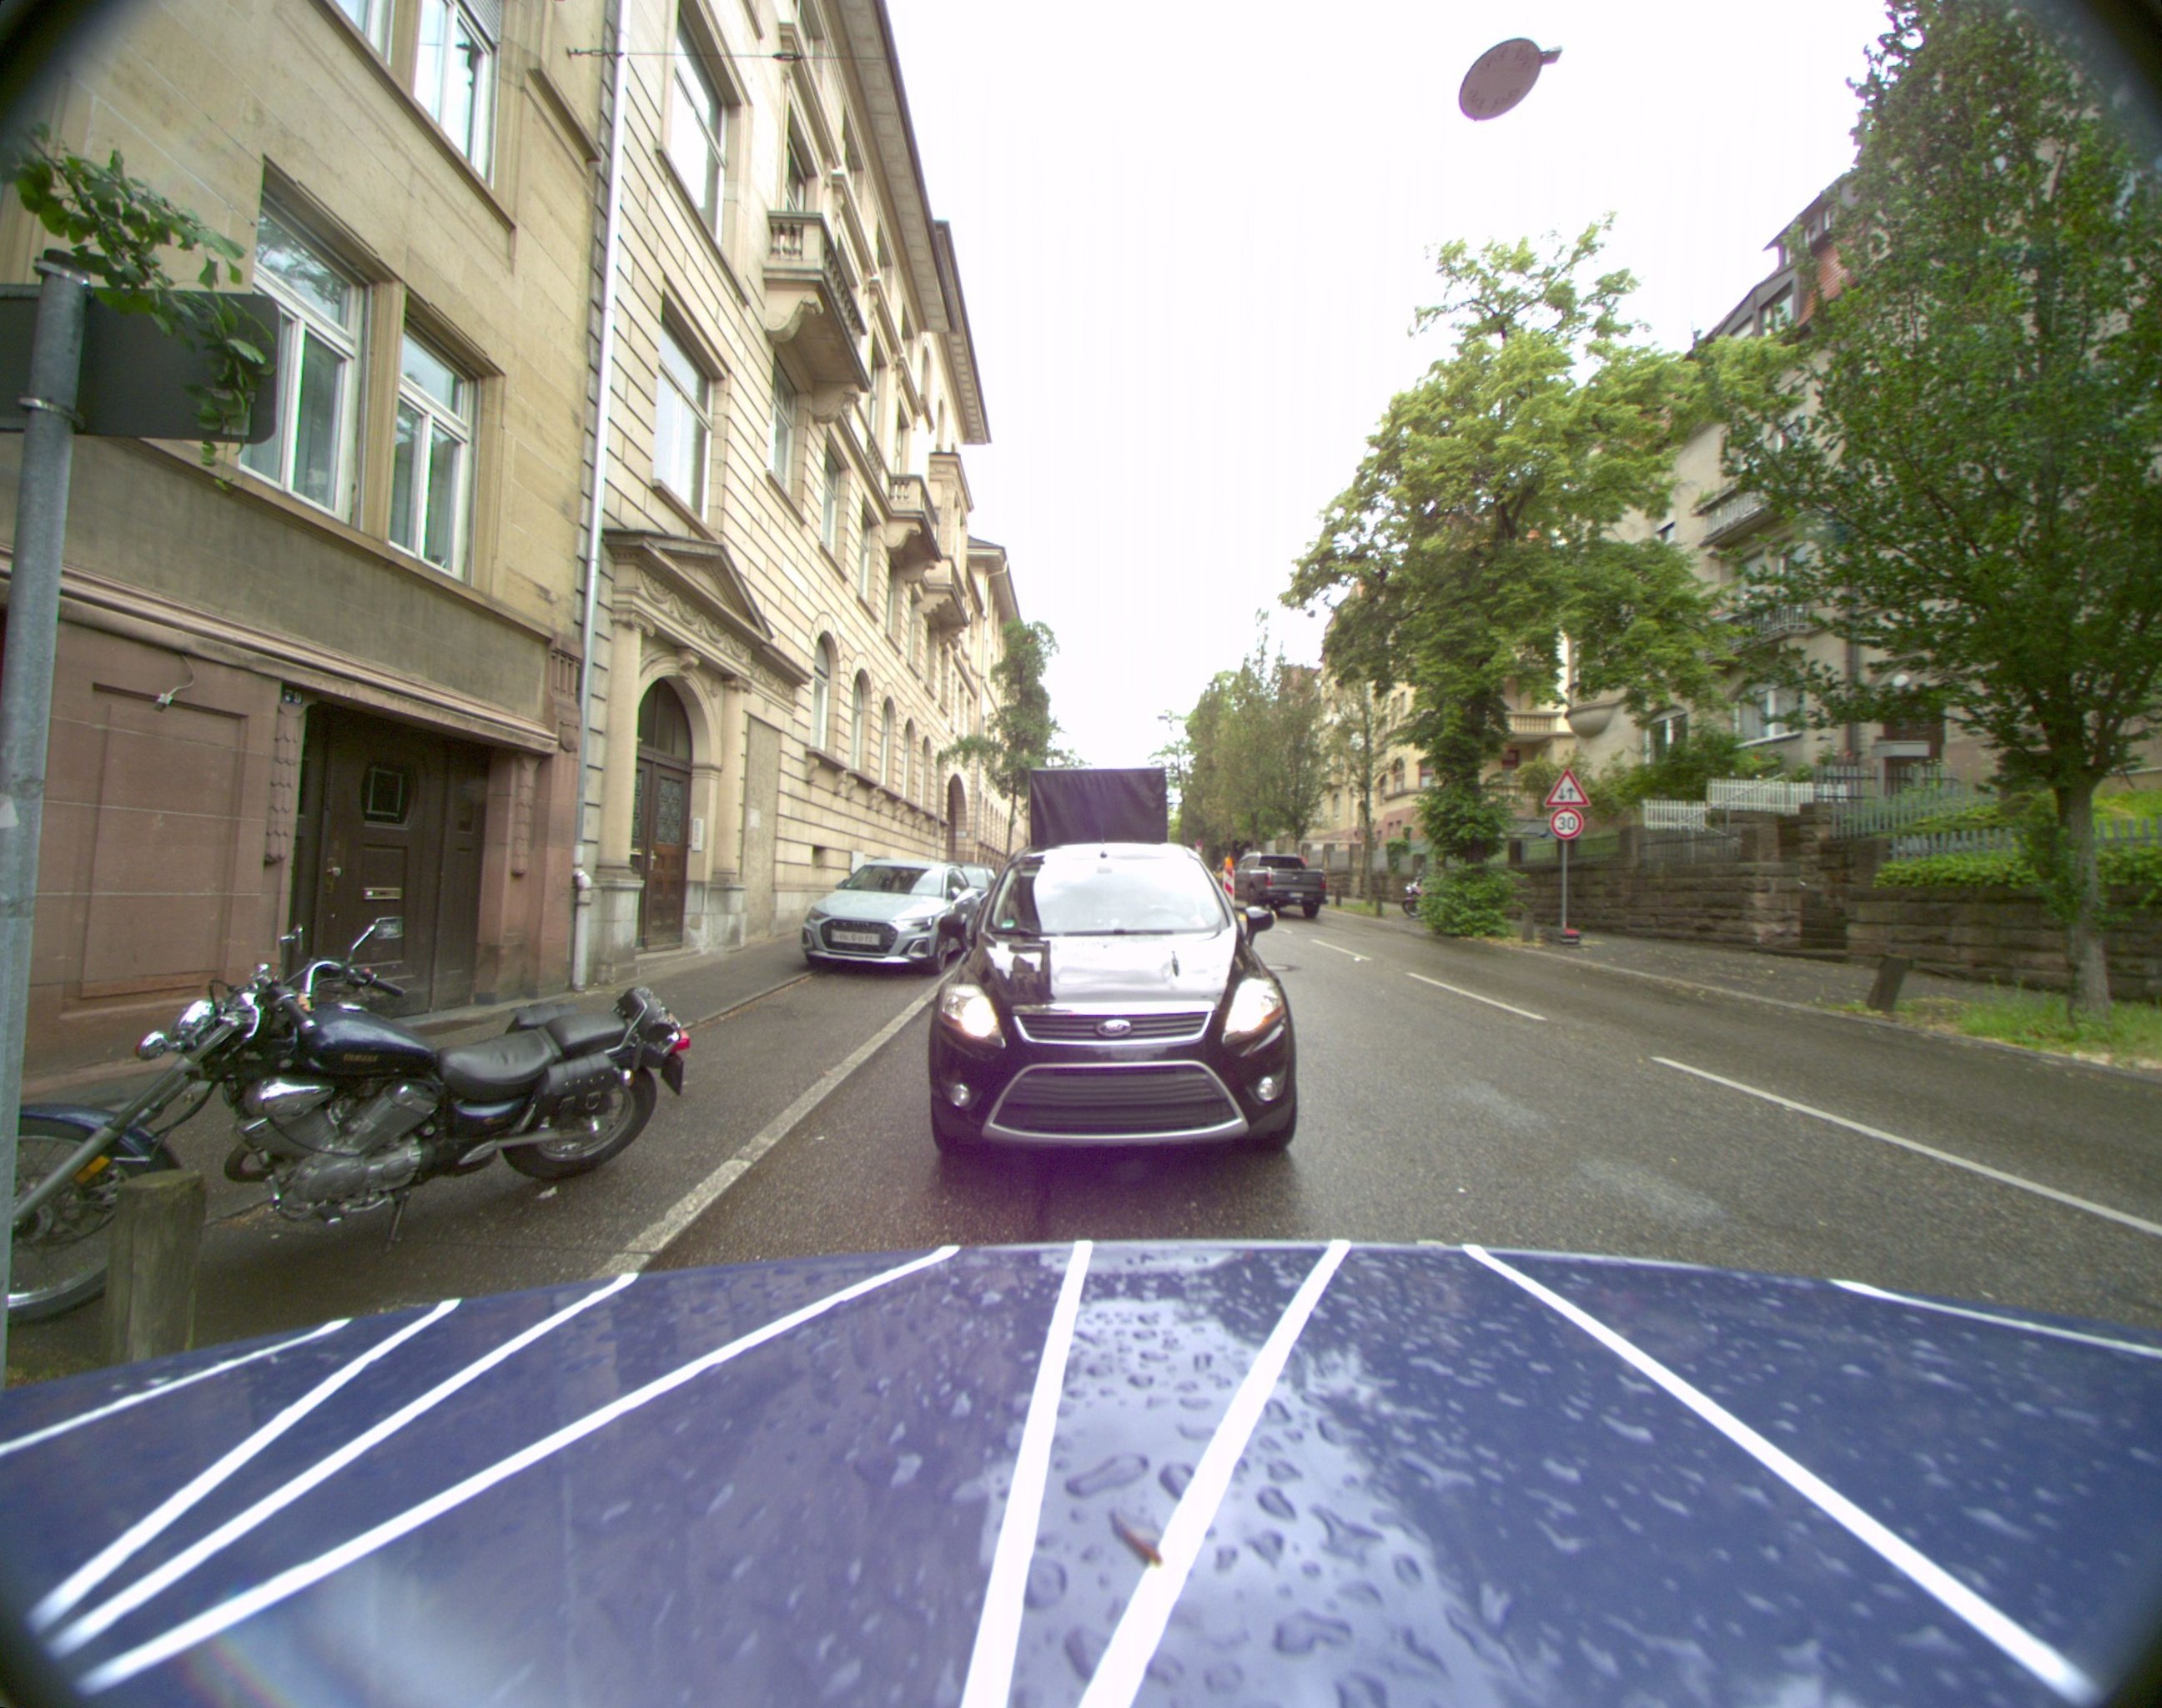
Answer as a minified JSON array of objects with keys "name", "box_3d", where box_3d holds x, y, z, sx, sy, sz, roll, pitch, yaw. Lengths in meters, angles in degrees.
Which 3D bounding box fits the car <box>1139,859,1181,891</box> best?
[{"name":"car","box_3d":[4.045,1.050,39.469,1.670,1.463,3.656,3,0,-1]}]

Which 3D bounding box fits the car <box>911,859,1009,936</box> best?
[{"name":"car","box_3d":[-2.559,0.888,16.746,1.495,1.440,3.181,3,0,1]}]

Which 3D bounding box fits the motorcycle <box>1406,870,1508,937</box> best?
[{"name":"motorcycle","box_3d":[8.895,1.124,18.184,0.802,1.406,3.061,-2,0,-2]}]

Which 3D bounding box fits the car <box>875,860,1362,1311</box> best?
[{"name":"car","box_3d":[0.195,0.887,5.113,1.823,1.662,4.522,0,0,1]}]

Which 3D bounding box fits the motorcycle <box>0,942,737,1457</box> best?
[{"name":"motorcycle","box_3d":[-2.539,1.006,2.758,0.523,1.236,2.282,3,-1,39]}]

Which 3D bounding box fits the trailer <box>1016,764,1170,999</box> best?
[{"name":"trailer","box_3d":[0.139,0.306,11.301,1.783,2.744,4.816,0,1,0]}]

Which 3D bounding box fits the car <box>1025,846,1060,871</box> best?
[{"name":"car","box_3d":[-2.541,0.304,50.786,1.910,1.502,4.318,3,0,1]}]

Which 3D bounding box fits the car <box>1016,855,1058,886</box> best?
[{"name":"car","box_3d":[-2.397,0.887,42.446,1.910,1.502,4.318,3,0,1]}]

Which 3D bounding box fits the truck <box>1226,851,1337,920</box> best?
[{"name":"truck","box_3d":[6.003,0.882,23.469,2.075,1.825,5.154,2,0,1]}]

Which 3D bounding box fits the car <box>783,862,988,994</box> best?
[{"name":"car","box_3d":[-2.599,0.906,11.126,1.794,1.444,4.039,3,0,1]}]
